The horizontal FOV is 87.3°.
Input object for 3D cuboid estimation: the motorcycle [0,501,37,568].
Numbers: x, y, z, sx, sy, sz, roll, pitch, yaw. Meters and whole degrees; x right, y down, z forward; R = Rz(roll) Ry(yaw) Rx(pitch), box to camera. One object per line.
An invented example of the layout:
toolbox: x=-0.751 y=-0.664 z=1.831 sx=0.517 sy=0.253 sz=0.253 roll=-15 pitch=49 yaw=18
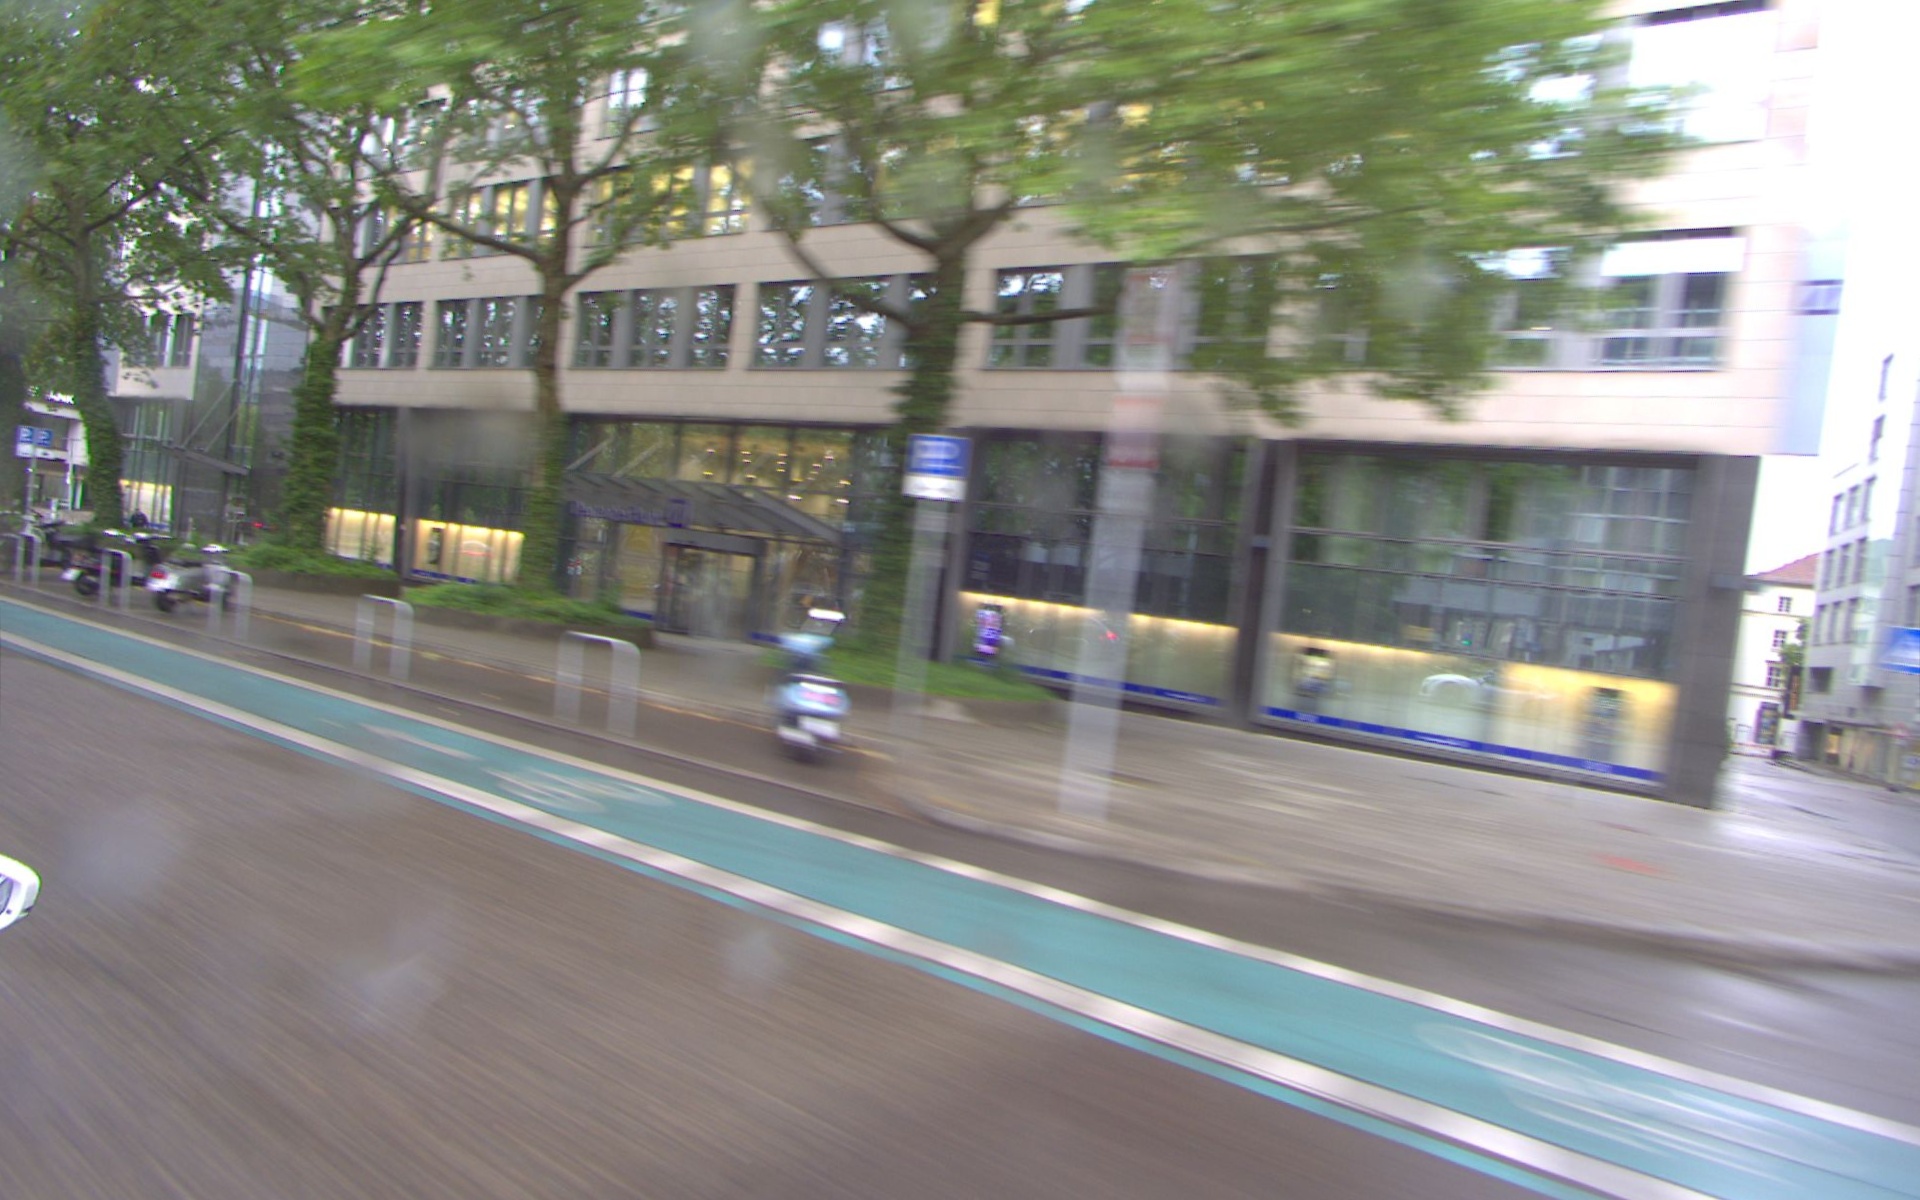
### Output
motorcycle: x=-21.231 y=-1.465 z=21.598 sx=0.715 sy=1.391 sz=1.961 roll=8 pitch=2 yaw=10

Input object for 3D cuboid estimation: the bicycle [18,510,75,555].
bicycle: x=-23.639 y=-1.734 z=26.057 sx=0.632 sy=1.040 sz=1.750 roll=7 pitch=-1 yaw=-30

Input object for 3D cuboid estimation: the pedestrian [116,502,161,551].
pedestrian: x=-34.522 y=-3.099 z=42.274 sx=1.255 sy=1.872 sz=0.919 roll=6 pitch=-1 yaw=30

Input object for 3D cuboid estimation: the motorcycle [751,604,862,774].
motorcycle: x=-1.546 y=0.803 z=9.823 sx=0.674 sy=1.386 sz=1.937 roll=4 pitch=2 yaw=-18

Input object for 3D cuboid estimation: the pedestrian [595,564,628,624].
pedestrian: x=-10.527 y=-0.195 z=30.414 sx=0.718 sy=1.714 sz=0.825 roll=6 pitch=1 yaw=-16

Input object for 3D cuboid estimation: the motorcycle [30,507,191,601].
motorcycle: x=-14.730 y=-0.762 z=17.535 sx=0.715 sy=1.447 sz=2.060 roll=8 pitch=2 yaw=10

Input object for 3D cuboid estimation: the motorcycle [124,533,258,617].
motorcycle: x=-12.652 y=-0.417 z=16.638 sx=0.672 sy=1.229 sz=2.057 roll=5 pitch=2 yaw=-4

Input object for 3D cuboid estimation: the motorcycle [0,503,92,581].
motorcycle: x=-18.416 y=-1.145 z=19.760 sx=0.715 sy=1.391 sz=1.961 roll=8 pitch=2 yaw=10
